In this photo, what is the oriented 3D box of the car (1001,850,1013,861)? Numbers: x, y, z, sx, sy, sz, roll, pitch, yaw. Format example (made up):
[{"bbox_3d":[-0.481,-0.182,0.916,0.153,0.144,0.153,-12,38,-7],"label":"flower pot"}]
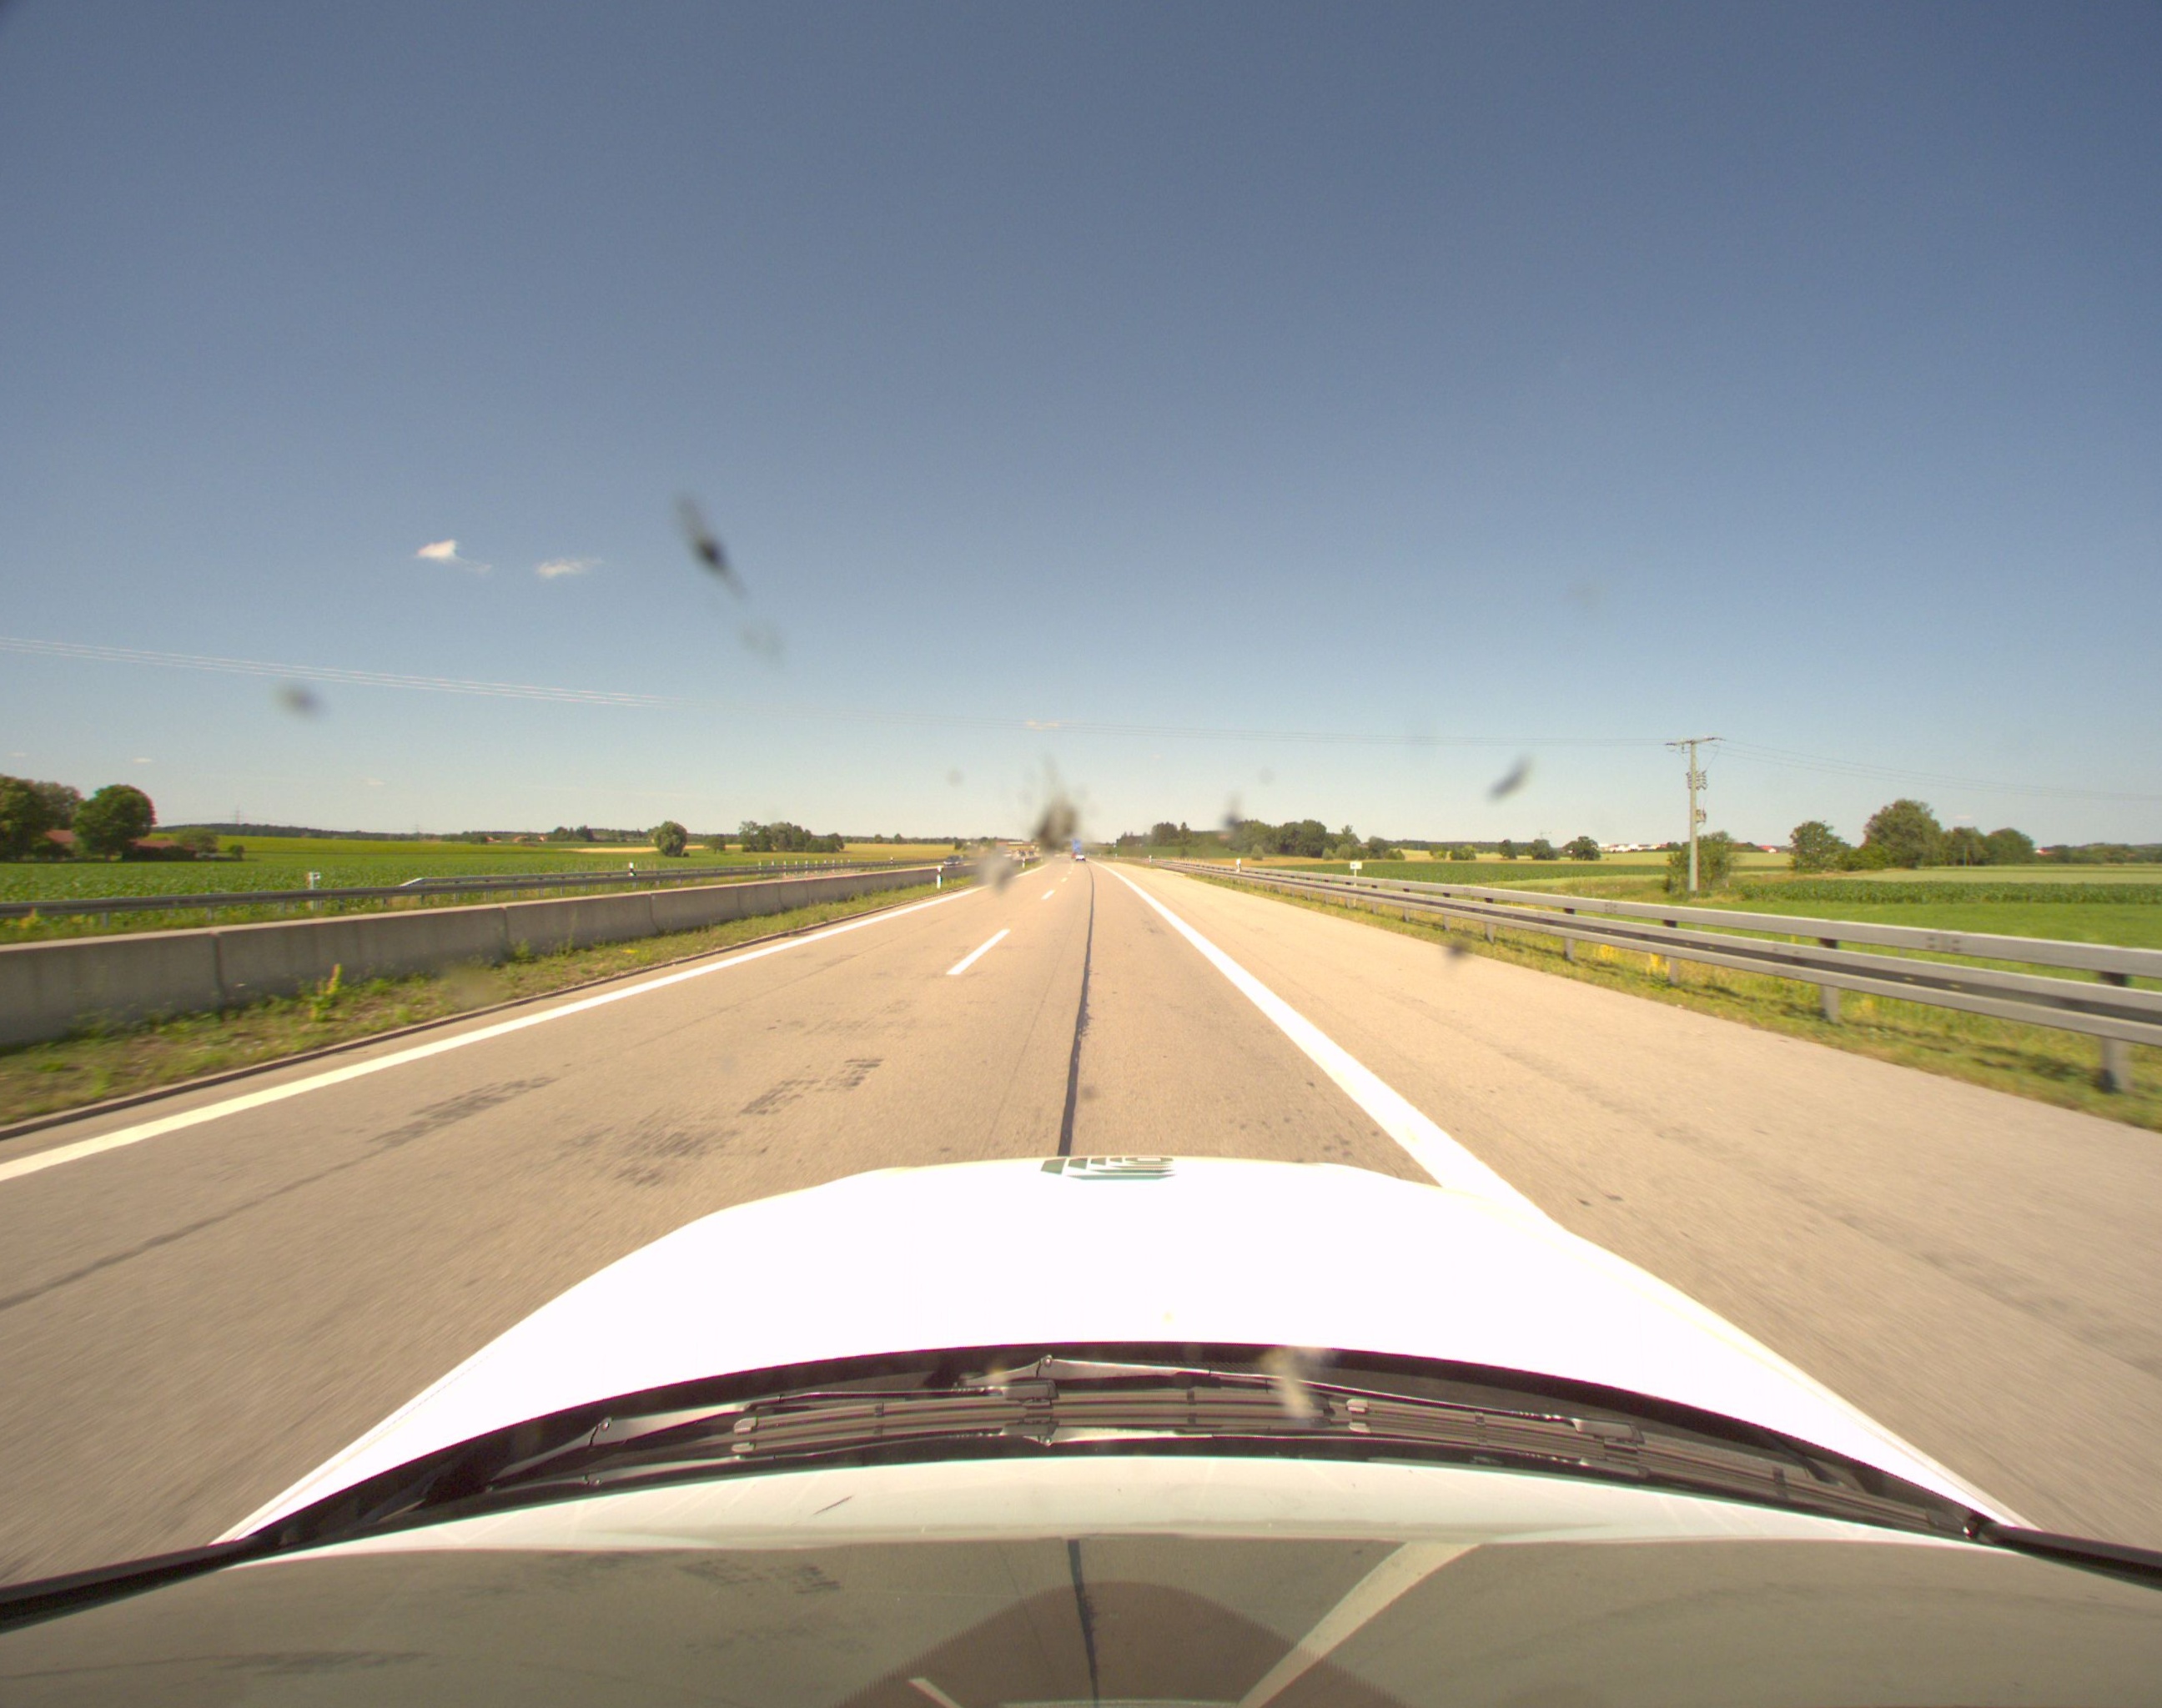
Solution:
[{"bbox_3d":[-14.719,0.298,162.149,1.989,2.014,5.607,0,0,-3],"label":"car"}]

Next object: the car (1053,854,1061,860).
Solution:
[{"bbox_3d":[-7.285,0.897,245.632,1.990,1.731,4.860,0,0,-5],"label":"car"}]

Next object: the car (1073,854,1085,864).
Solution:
[{"bbox_3d":[-0.395,0.949,154.666,1.988,1.731,4.865,0,0,-2],"label":"car"}]

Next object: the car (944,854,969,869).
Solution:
[{"bbox_3d":[-13.012,0.789,85.293,1.853,1.514,4.586,1,0,1],"label":"car"}]

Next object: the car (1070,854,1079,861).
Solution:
[{"bbox_3d":[-1.702,0.900,205.374,1.989,1.731,4.864,0,0,-3],"label":"car"}]
